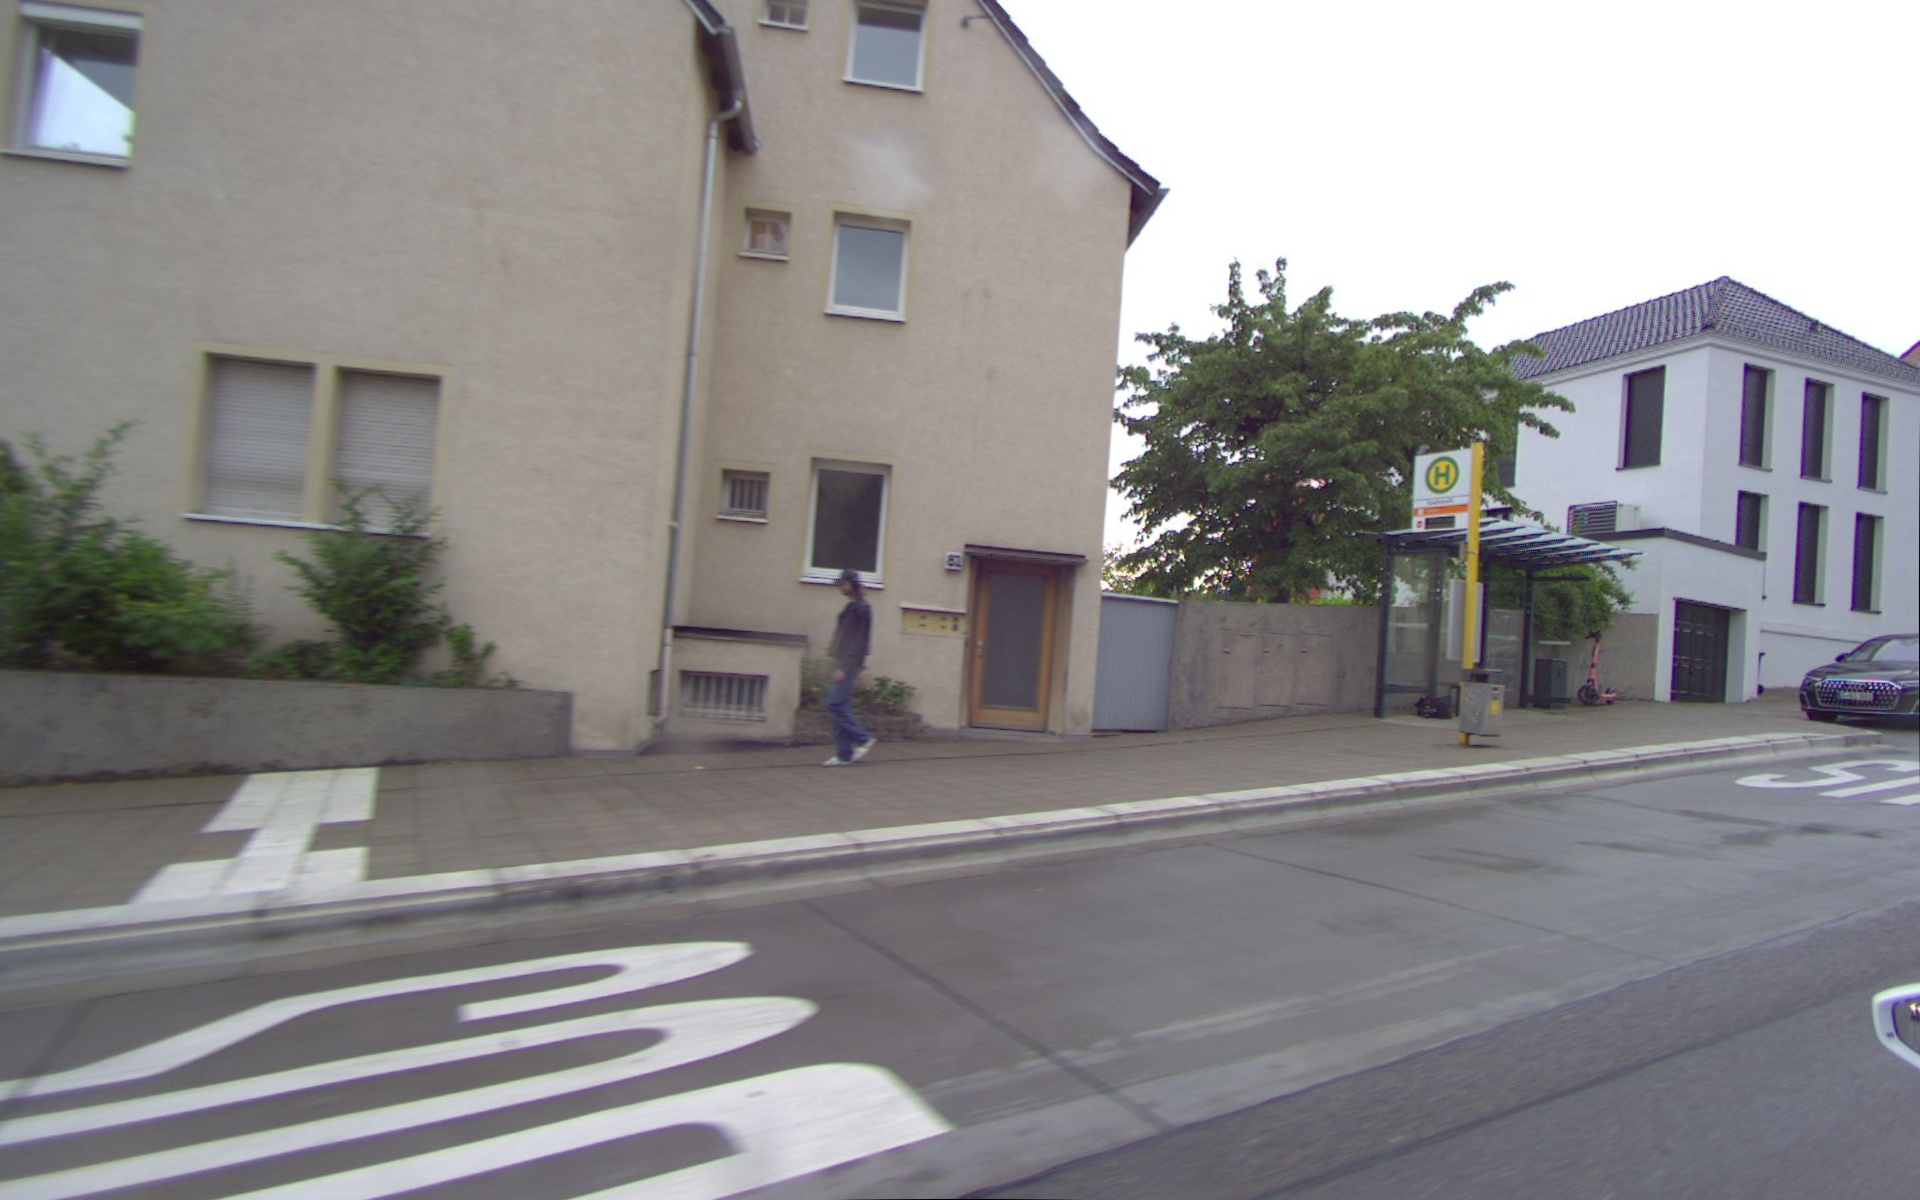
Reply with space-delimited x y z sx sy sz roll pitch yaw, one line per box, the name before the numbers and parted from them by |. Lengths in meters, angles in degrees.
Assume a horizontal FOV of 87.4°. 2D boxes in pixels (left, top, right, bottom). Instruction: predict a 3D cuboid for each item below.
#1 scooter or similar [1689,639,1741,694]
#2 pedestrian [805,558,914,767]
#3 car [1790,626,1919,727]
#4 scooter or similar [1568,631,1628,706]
scooter or similar | 16.077 1.408 21.373 1.297 1.124 0.427 2 0 -32
pedestrian | -0.966 0.570 9.561 0.719 1.882 0.783 2 0 -29
car | 16.277 1.271 16.993 4.932 1.505 1.820 3 -2 -30
scooter or similar | 10.828 1.162 17.037 1.109 1.236 0.336 2 0 -29
